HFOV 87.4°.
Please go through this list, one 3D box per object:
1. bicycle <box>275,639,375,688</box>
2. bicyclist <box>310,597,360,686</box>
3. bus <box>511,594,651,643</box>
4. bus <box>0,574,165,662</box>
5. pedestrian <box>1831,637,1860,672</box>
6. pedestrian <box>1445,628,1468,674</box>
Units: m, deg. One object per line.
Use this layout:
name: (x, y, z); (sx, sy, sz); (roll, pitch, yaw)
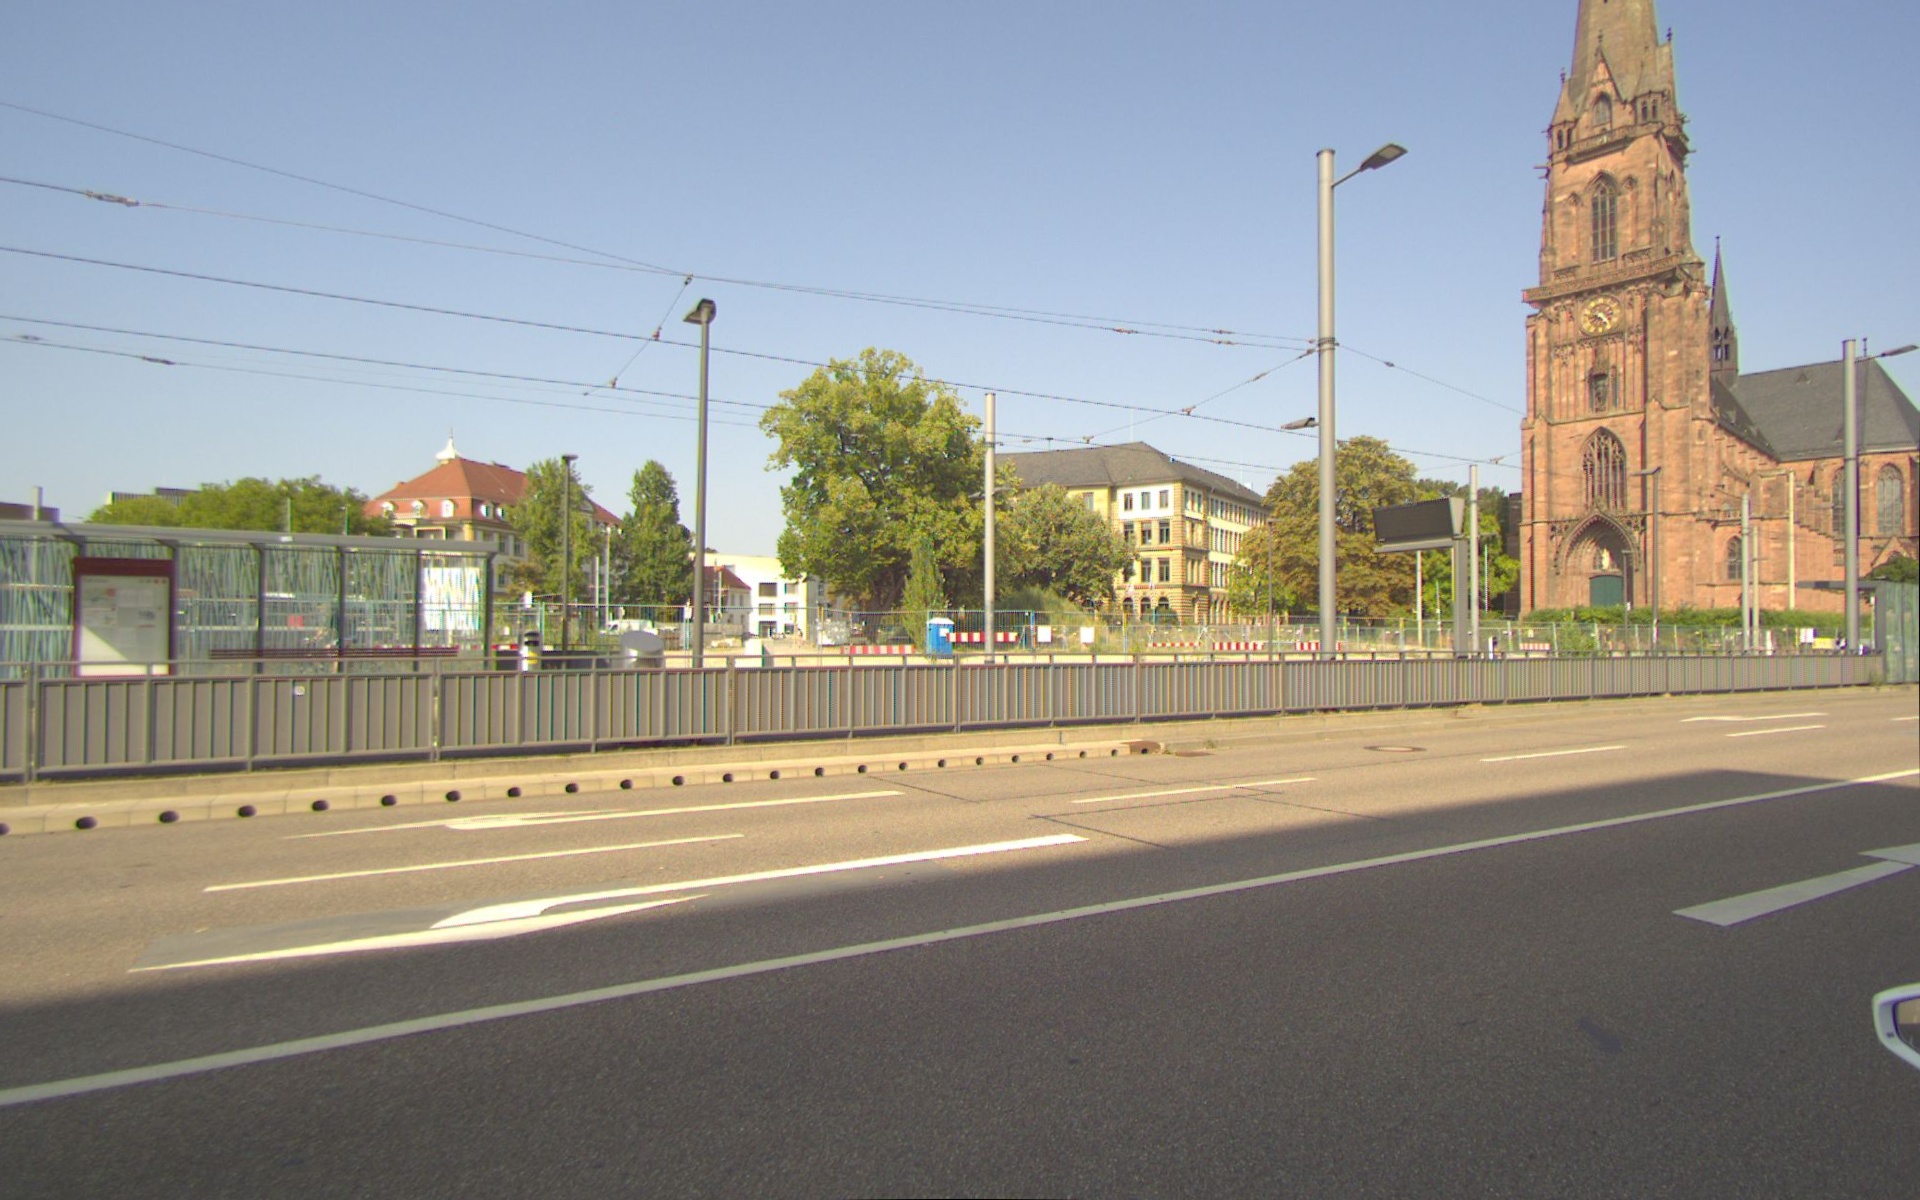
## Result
bicycle: (-12.813, 1.264, 20.311); (1.675, 0.966, 0.349); (1, -2, -30)
bicyclist: (-12.628, 0.830, 20.317); (0.809, 1.770, 0.484); (1, -2, -29)
bus: (-29.074, 1.511, 78.145); (3.160, 3.464, 13.325); (0, -2, 14)
bus: (-37.126, 0.660, 36.958); (3.160, 3.220, 13.326); (0, -2, 13)
pedestrian: (43.073, 2.646, 48.873); (0.595, 1.701, 0.912); (1, -2, -30)
pedestrian: (19.064, 1.951, 38.537); (0.657, 1.723, 0.515); (1, -2, -31)
